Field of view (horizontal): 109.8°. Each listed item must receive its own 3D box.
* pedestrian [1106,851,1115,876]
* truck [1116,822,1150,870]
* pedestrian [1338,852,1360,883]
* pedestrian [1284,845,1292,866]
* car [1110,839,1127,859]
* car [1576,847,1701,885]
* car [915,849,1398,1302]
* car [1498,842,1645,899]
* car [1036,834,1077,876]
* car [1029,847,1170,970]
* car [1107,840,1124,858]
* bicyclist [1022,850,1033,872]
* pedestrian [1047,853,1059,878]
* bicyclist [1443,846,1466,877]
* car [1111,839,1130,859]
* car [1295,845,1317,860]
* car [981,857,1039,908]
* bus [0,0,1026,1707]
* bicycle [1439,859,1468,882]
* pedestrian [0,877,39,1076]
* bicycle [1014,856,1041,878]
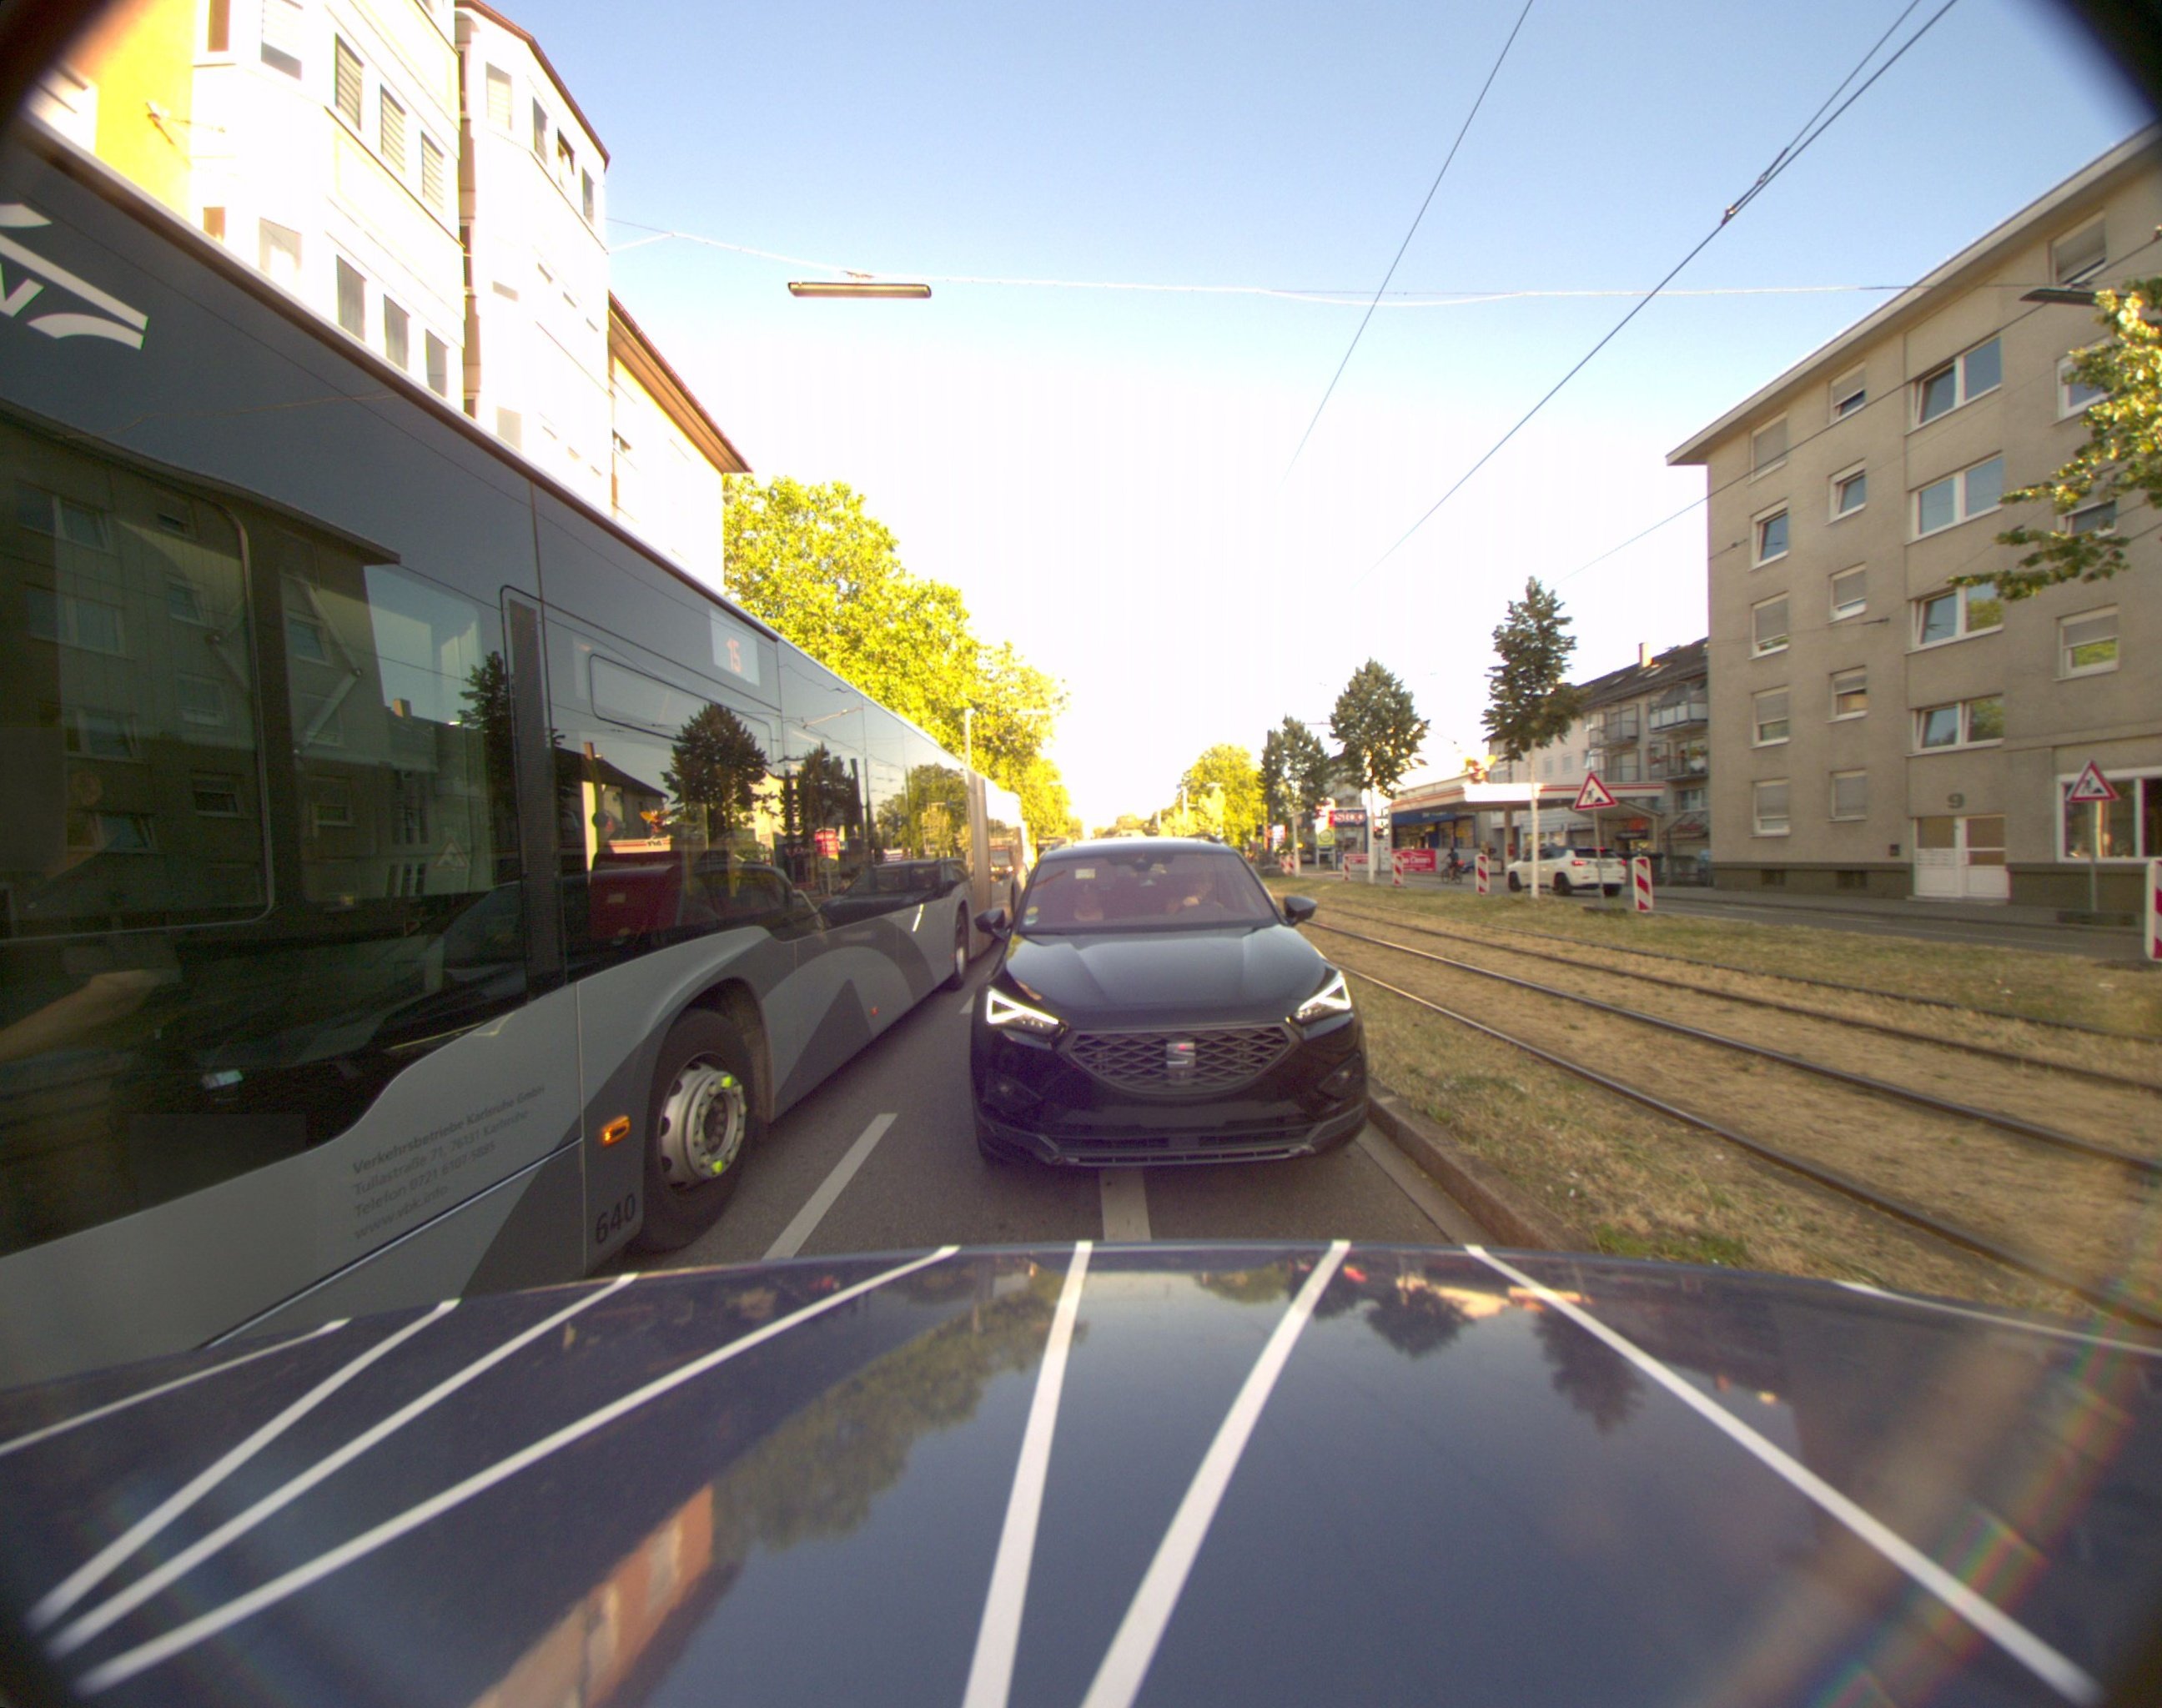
[{"bbox_3d":[2.401,0.781,61.747,0.625,2.002,0.695,-2,0,0],"label":"pedestrian"},{"bbox_3d":[4.315,-0.684,64.528,2.306,3.798,7.723,-2,1,1],"label":"truck"},{"bbox_3d":[11.006,0.554,31.217,0.664,1.263,0.581,-2,0,1],"label":"pedestrian"},{"bbox_3d":[20.584,0.149,75.582,0.632,2.002,0.583,0,1,2],"label":"pedestrian"},{"bbox_3d":[4.102,-0.571,83.561,1.767,2.002,3.791,-2,1,1],"label":"car"},{"bbox_3d":[22.776,0.511,31.148,3.727,1.460,1.908,0,-1,0],"label":"car"},{"bbox_3d":[0.312,0.836,4.863,1.774,1.667,4.000,-2,0,1],"label":"car"},{"bbox_3d":[16.219,0.509,25.472,1.999,1.724,4.393,1,0,-1],"label":"car"},{"bbox_3d":[-1.718,0.035,55.715,2.681,2.875,5.452,-2,1,0],"label":"car"},{"bbox_3d":[0.287,0.777,12.814,1.998,1.739,4.000,0,0,1],"label":"car"},{"bbox_3d":[3.990,-0.615,87.883,1.767,2.002,3.791,-2,1,1],"label":"car"},{"bbox_3d":[-3.199,0.409,45.389,0.500,1.303,0.499,-3,1,-17],"label":"bicyclist"},{"bbox_3d":[-1.743,0.703,46.788,0.618,1.482,0.438,-2,1,-13],"label":"pedestrian"},{"bbox_3d":[17.462,0.350,35.522,0.780,1.438,0.650,-1,1,-1],"label":"bicyclist"},{"bbox_3d":[4.063,-0.514,78.528,1.767,2.002,3.791,-2,1,1],"label":"car"},{"bbox_3d":[25.098,-0.198,84.822,1.781,1.547,4.002,-2,1,9],"label":"car"},{"bbox_3d":[-2.485,0.956,27.488,1.750,1.598,3.823,-2,1,-1],"label":"car"},{"bbox_3d":[-2.803,0.159,9.098,2.773,3.131,17.740,-2,0,1],"label":"bus"},{"bbox_3d":[17.483,0.776,35.701,0.447,1.038,1.860,-1,0,-1],"label":"bicycle"},{"bbox_3d":[-8.852,0.974,5.895,0.580,1.574,0.668,0,1,1],"label":"pedestrian"},{"bbox_3d":[-3.207,0.774,45.430,1.474,1.213,0.525,-2,1,-17],"label":"bicycle"}]
